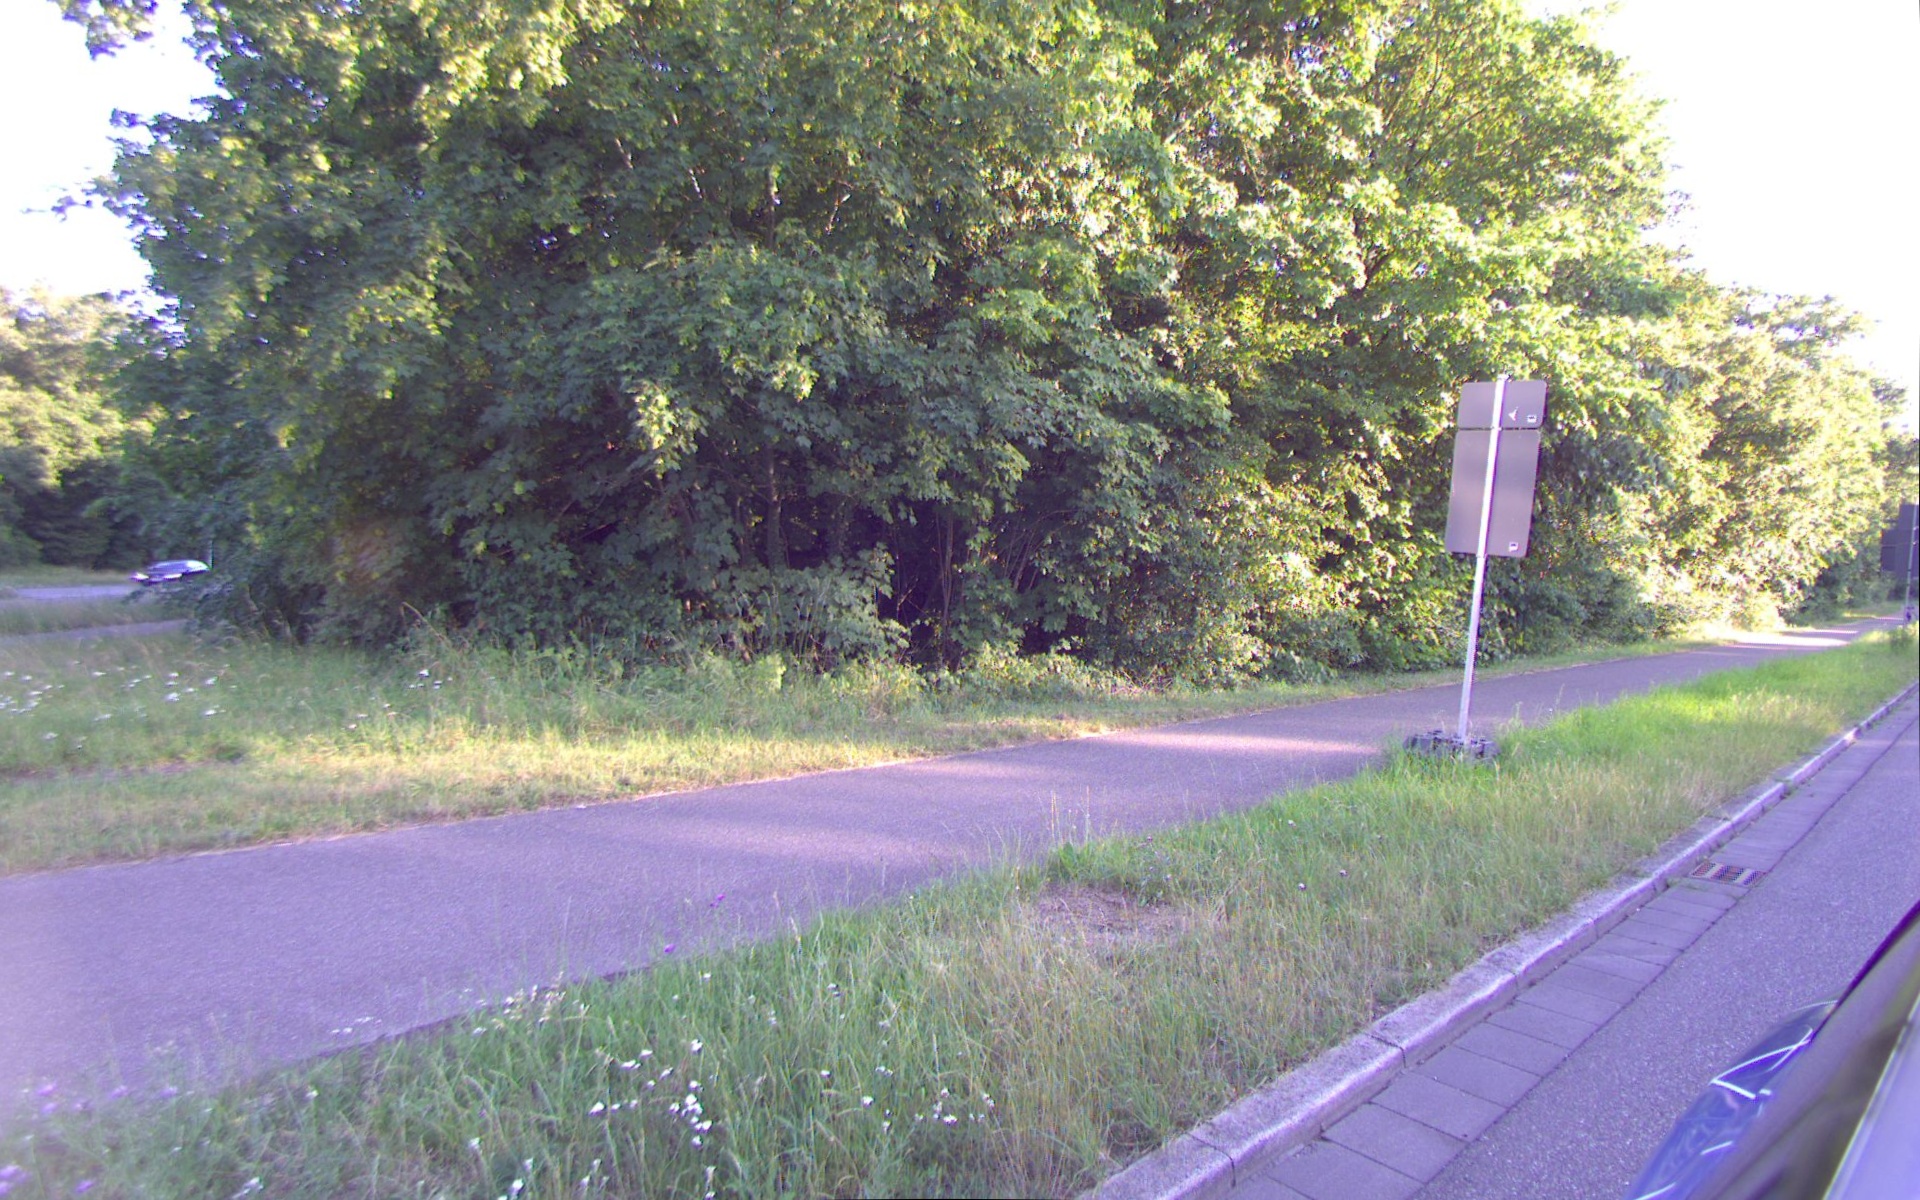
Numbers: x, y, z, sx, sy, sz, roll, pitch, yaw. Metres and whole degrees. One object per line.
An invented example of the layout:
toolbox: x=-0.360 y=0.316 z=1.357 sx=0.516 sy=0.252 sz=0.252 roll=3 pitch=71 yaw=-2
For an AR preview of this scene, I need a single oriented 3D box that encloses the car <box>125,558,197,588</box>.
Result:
car: x=-42.289 y=-1.414 z=53.680 sx=1.733 sy=1.507 sz=3.884 roll=1 pitch=1 yaw=-18
